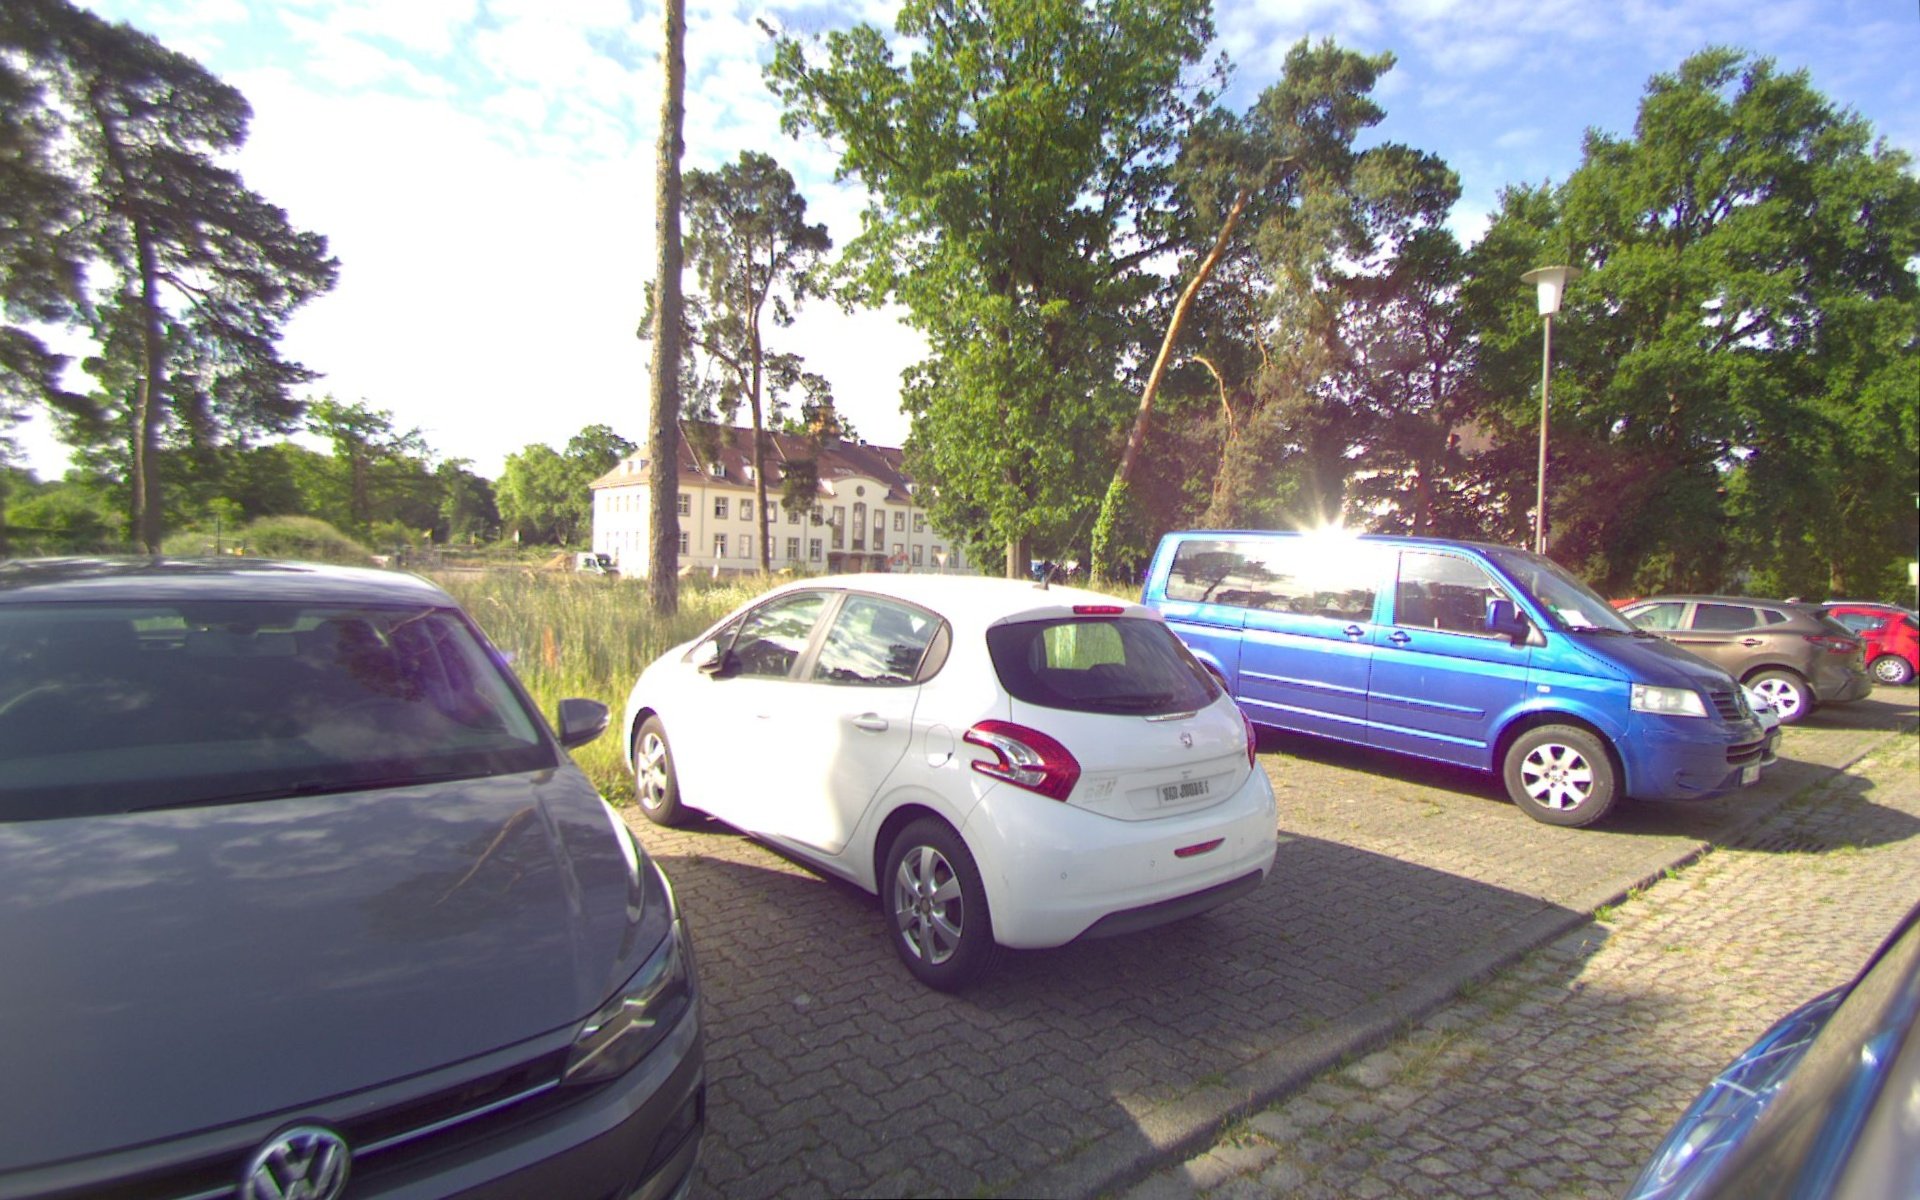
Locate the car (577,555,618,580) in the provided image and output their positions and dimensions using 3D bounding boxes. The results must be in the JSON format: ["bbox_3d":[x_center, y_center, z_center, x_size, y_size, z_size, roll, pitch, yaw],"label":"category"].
[{"bbox_3d":[-33.888,-3.019,94.581,1.967,2.240,4.423,0,0,-44],"label":"car"}]

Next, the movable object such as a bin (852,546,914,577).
[{"bbox_3d":[-8.361,-4.145,109.805,6.338,3.342,2.862,0,0,7],"label":"movable object such as a bin"}]

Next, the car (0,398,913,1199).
[{"bbox_3d":[-1.994,0.388,2.782,1.823,1.466,3.717,1,3,-39],"label":"car"}]

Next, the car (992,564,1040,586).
[{"bbox_3d":[5.192,-2.259,93.689,4.317,1.963,1.905,0,0,-39],"label":"car"}]

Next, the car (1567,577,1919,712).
[{"bbox_3d":[12.326,0.561,16.018,1.902,1.617,4.233,0,4,-43],"label":"car"}]

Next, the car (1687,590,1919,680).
[{"bbox_3d":[17.895,0.669,21.108,1.821,1.477,4.096,1,3,-41],"label":"car"}]

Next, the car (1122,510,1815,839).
[{"bbox_3d":[3.841,0.294,8.456,1.965,1.959,4.710,1,3,-40],"label":"car"}]

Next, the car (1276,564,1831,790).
[{"bbox_3d":[5.703,0.549,10.235,1.905,1.596,4.408,0,3,-40],"label":"car"}]

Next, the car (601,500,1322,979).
[{"bbox_3d":[-0.314,0.339,5.258,1.729,1.553,3.717,1,3,-39],"label":"car"}]

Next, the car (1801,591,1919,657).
[{"bbox_3d":[25.670,0.697,27.469,1.821,1.576,4.096,1,3,-41],"label":"car"}]

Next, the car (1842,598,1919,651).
[{"bbox_3d":[29.288,0.820,30.317,1.754,1.440,4.096,1,3,-41],"label":"car"}]

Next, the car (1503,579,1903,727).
[{"bbox_3d":[10.293,0.598,14.278,1.902,1.617,4.232,0,3,-43],"label":"car"}]
